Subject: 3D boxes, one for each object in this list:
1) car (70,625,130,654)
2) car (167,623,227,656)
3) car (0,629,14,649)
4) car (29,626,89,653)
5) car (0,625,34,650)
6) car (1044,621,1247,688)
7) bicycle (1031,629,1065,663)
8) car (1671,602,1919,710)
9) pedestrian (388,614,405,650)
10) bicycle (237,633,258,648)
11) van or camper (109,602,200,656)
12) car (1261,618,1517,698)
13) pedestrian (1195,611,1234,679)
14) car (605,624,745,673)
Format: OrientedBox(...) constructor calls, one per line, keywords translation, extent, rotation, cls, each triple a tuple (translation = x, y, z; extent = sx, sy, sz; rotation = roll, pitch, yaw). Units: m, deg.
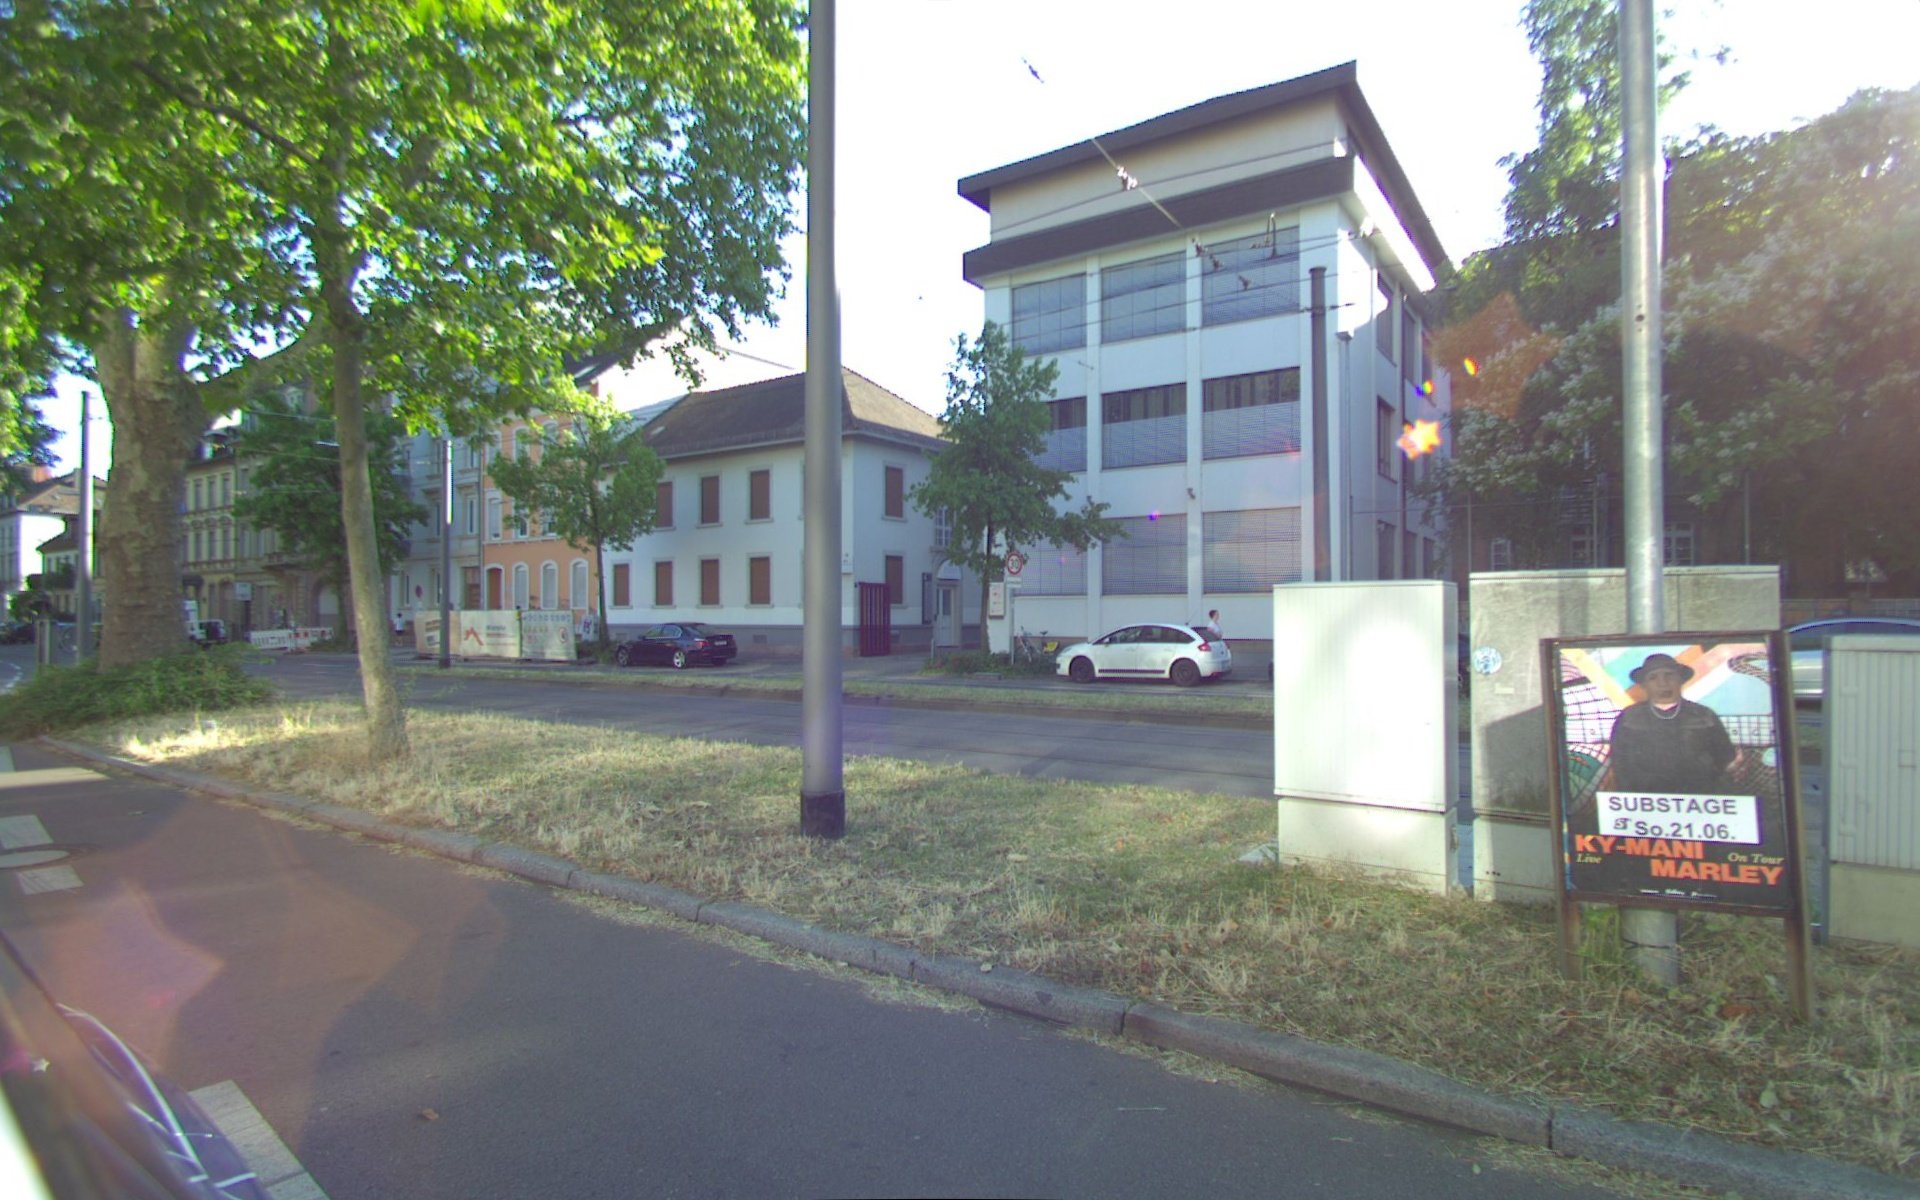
OrientedBox(translation=(-55.874, 2.576, 65.750), extent=(4.432, 1.718, 1.795), rotation=(-1, 2, 34), cls="car")
OrientedBox(translation=(-42.928, 2.230, 56.936), extent=(3.360, 1.718, 1.618), rotation=(-1, 1, 33), cls="car")
OrientedBox(translation=(-75.993, 3.099, 79.441), extent=(4.393, 1.465, 1.649), rotation=(-1, 1, 35), cls="car")
OrientedBox(translation=(-62.298, 2.705, 69.955), extent=(4.738, 1.715, 1.977), rotation=(-1, 2, 34), cls="car")
OrientedBox(translation=(-72.250, 2.845, 77.143), extent=(3.618, 1.759, 1.709), rotation=(-1, 2, 36), cls="car")
OrientedBox(translation=(4.428, 1.263, 24.355), extent=(4.393, 1.482, 1.977), rotation=(-1, -2, 34), cls="car")
OrientedBox(translation=(2.671, 1.383, 30.691), extent=(1.016, 1.010, 0.300), rotation=(-1, -2, 34), cls="bicycle")
OrientedBox(translation=(14.770, 0.915, 17.311), extent=(4.166, 1.702, 1.977), rotation=(-1, -2, 34), cls="car")
OrientedBox(translation=(-28.820, 1.657, 51.772), extent=(0.480, 1.832, 0.592), rotation=(-1, -2, 35), cls="pedestrian")
OrientedBox(translation=(-43.920, 2.486, 62.402), extent=(1.789, 0.931, 0.573), rotation=(-1, -2, 38), cls="bicycle")
OrientedBox(translation=(-48.152, 1.720, 60.407), extent=(7.237, 2.969, 2.398), rotation=(-1, 2, 37), cls="van or camper")
OrientedBox(translation=(8.886, 1.150, 21.111), extent=(4.637, 1.487, 1.977), rotation=(-1, -2, 34), cls="car")
OrientedBox(translation=(6.274, 1.098, 24.915), extent=(0.730, 1.633, 0.629), rotation=(-1, -1, 36), cls="pedestrian")
OrientedBox(translation=(-9.542, 1.566, 33.751), extent=(4.713, 1.525, 1.977), rotation=(-1, -2, 35), cls="car")
